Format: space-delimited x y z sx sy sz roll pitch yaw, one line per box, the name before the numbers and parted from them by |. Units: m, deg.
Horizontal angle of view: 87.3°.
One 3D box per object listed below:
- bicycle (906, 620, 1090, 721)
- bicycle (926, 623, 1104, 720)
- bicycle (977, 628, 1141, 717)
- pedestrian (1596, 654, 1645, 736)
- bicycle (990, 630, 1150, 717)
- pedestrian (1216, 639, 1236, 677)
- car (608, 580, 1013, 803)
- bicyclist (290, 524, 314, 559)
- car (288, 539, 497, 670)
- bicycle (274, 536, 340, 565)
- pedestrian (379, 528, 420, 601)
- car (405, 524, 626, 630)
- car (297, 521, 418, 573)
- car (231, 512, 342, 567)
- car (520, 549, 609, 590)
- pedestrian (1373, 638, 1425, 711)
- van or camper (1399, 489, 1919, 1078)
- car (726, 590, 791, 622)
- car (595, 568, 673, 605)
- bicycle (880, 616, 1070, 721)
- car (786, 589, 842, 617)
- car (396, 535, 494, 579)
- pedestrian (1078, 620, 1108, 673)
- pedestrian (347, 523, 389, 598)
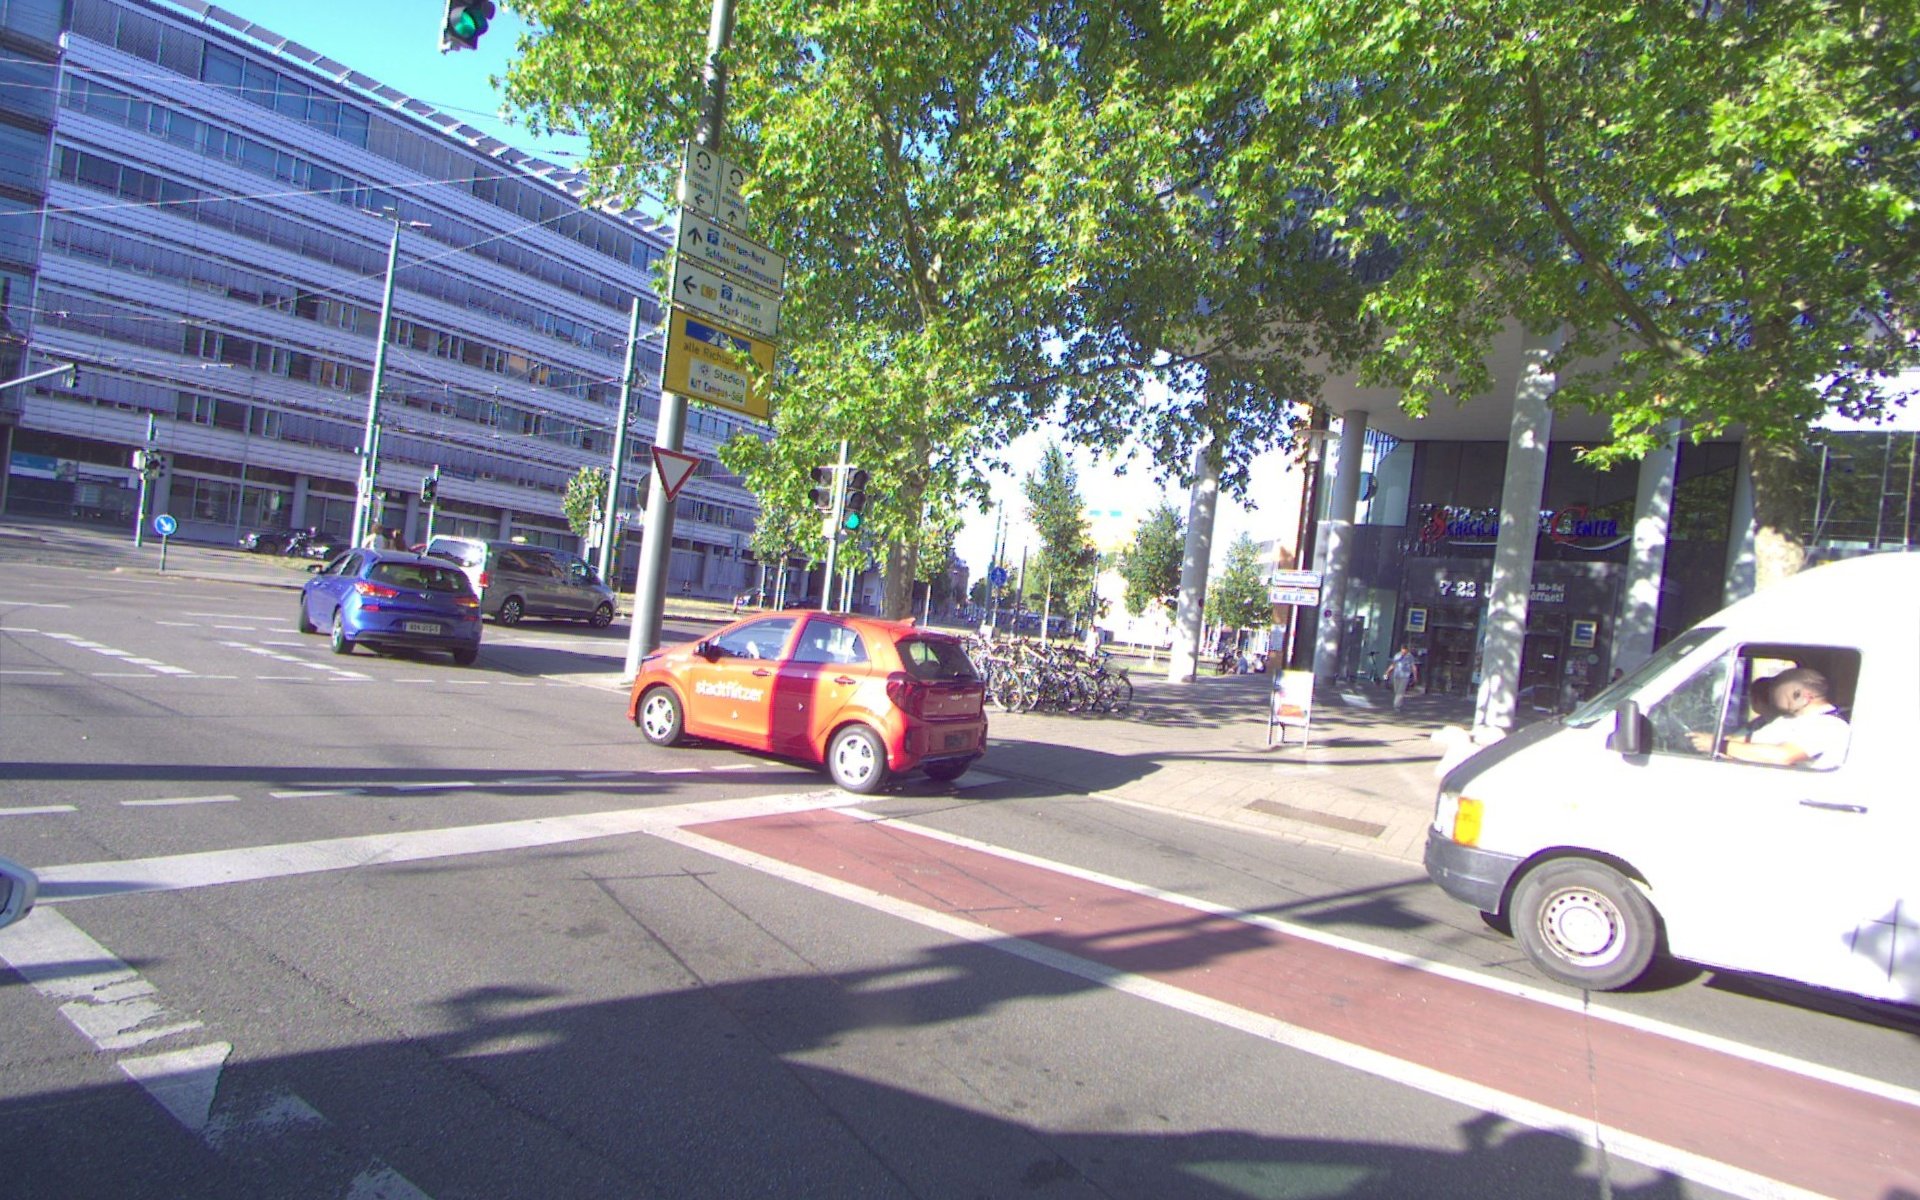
bicycle | 0.577 1.111 16.306 2.896 1.243 0.686 6 -1 31
bicycle | 0.892 1.181 16.973 2.897 1.252 0.705 6 -1 32
bicycle | 1.800 1.324 18.664 2.896 1.253 0.704 6 0 31
pedestrian | 17.563 2.535 26.742 0.847 2.037 1.021 6 -1 38
bicycle | 2.081 1.395 19.353 2.896 1.250 0.698 6 -4 31
pedestrian | 11.899 2.574 44.929 0.540 1.612 0.595 7 0 32
car | -1.477 0.782 9.627 3.536 1.476 1.493 7 -1 30
bicyclist | -30.223 -2.691 46.203 0.604 1.521 0.663 7 1 37
car | -8.605 0.002 15.075 1.742 1.476 4.162 8 -1 -42
bicycle | -30.109 -2.282 46.402 0.627 1.035 2.409 7 0 36
pedestrian | -14.414 -0.921 25.862 0.680 1.781 0.734 6 1 -38
car | -10.377 -0.448 24.013 1.969 1.919 4.886 7 -1 16
car | -27.382 -2.381 45.854 1.854 1.744 4.256 7 0 34
car | -33.547 -2.985 50.240 1.967 2.037 3.995 6 -2 32
car | -21.299 -1.616 54.291 1.852 1.614 3.991 6 -2 35
pedestrian | 12.260 2.071 28.095 0.800 1.913 0.871 5 1 -16
van or camper | 5.907 1.067 4.989 6.390 2.647 2.002 7 0 32
car | -13.851 0.424 69.375 1.852 1.614 4.121 6 -2 35
car | -19.849 -0.799 61.336 1.852 1.614 4.121 6 -2 35
bicycle | 0.189 1.039 15.716 2.896 1.252 0.705 6 -1 31
car | -11.288 0.222 78.166 1.852 1.614 4.121 6 -2 35
car | -26.516 -2.197 51.876 1.769 1.569 3.990 6 -2 36
pedestrian | 4.290 1.493 32.373 0.569 1.612 0.595 7 0 32
pedestrian | -14.973 -0.998 25.420 0.674 1.781 0.734 6 1 -38
